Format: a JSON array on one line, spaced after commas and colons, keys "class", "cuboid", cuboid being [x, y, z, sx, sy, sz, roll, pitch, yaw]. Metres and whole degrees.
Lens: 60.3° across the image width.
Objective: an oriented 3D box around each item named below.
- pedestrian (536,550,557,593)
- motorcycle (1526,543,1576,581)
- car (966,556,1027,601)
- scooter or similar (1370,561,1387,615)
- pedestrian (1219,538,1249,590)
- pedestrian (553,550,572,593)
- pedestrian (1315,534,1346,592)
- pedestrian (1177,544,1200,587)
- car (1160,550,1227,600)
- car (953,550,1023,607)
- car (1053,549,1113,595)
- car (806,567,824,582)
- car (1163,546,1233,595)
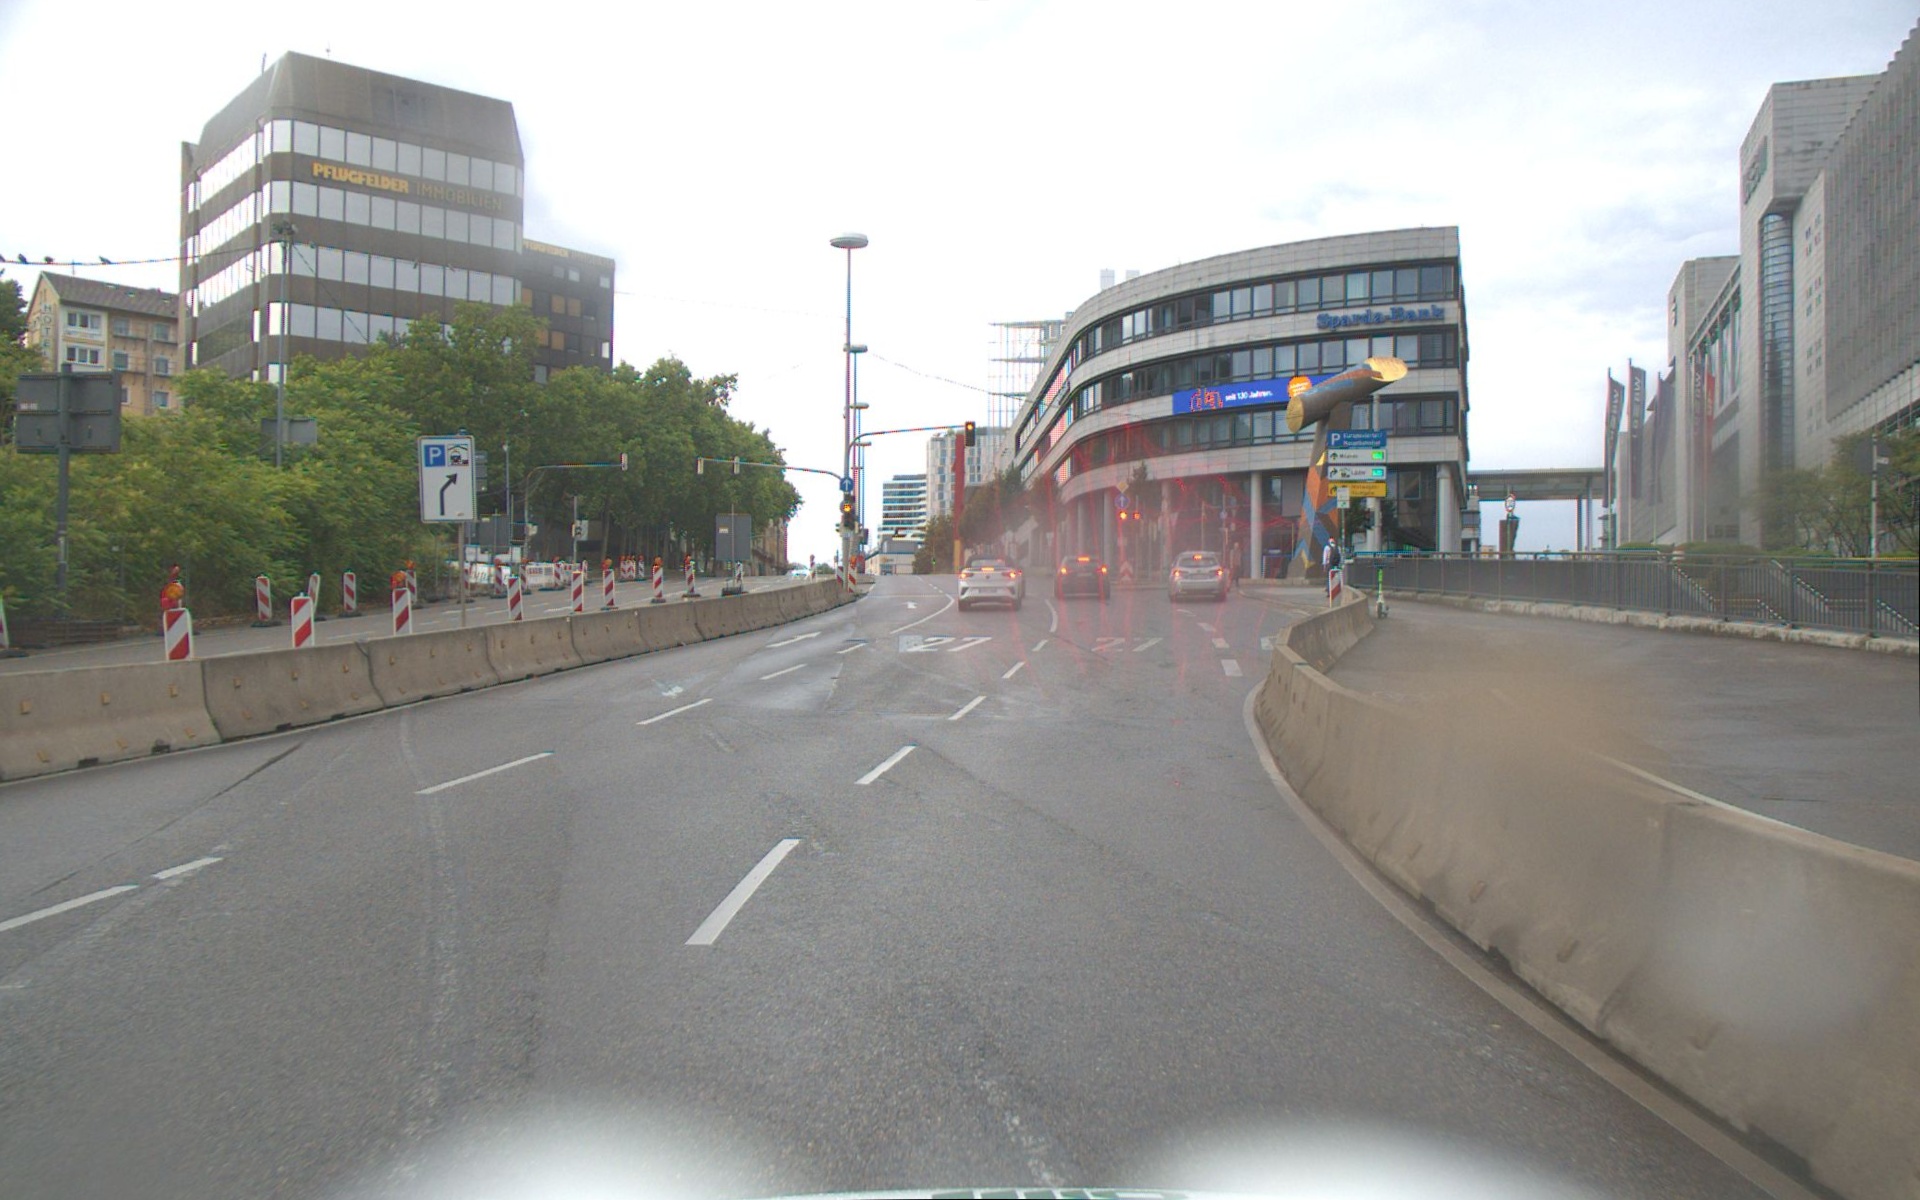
[{"class": "pedestrian", "cuboid": [-18.808, -1.291, 75.301, 0.745, 1.956, 0.742, 0, -1, 0]}, {"class": "motorcycle", "cuboid": [22.270, -1.439, 62.333, 1.693, 1.377, 0.605, -1, 1, -10]}, {"class": "car", "cuboid": [1.207, -0.762, 56.610, 1.706, 1.468, 3.997, 0, 1, -5]}, {"class": "scooter or similar", "cuboid": [9.228, -0.272, 36.462, 0.341, 1.183, 0.573, 0, 0, 13]}, {"class": "pedestrian", "cuboid": [11.593, -1.523, 70.024, 0.841, 2.135, 0.897, 1, 1, -25]}, {"class": "pedestrian", "cuboid": [-18.081, -1.287, 75.301, 0.658, 1.935, 0.775, 0, -1, 0]}, {"class": "pedestrian", "cuboid": [11.212, -1.108, 50.014, 0.715, 1.741, 0.843, 0, -1, -3]}, {"class": "pedestrian", "cuboid": [10.501, -1.586, 75.987, 0.823, 1.938, 0.861, 0, -1, 24]}, {"class": "car", "cuboid": [7.326, -0.777, 52.307, 1.665, 1.476, 4.618, 0, 1, 3]}, {"class": "car", "cuboid": [0.857, -0.655, 48.042, 1.923, 1.575, 4.221, 0, 2, 3]}, {"class": "car", "cuboid": [4.091, -0.931, 55.462, 1.718, 1.432, 4.228, 1, 0, 1]}, {"class": "car", "cuboid": [-15.798, -2.796, 180.440, 1.726, 1.486, 4.358, -1, 2, -3]}, {"class": "car", "cuboid": [8.550, -1.076, 59.167, 1.734, 1.662, 4.584, 0, 2, 18]}]
